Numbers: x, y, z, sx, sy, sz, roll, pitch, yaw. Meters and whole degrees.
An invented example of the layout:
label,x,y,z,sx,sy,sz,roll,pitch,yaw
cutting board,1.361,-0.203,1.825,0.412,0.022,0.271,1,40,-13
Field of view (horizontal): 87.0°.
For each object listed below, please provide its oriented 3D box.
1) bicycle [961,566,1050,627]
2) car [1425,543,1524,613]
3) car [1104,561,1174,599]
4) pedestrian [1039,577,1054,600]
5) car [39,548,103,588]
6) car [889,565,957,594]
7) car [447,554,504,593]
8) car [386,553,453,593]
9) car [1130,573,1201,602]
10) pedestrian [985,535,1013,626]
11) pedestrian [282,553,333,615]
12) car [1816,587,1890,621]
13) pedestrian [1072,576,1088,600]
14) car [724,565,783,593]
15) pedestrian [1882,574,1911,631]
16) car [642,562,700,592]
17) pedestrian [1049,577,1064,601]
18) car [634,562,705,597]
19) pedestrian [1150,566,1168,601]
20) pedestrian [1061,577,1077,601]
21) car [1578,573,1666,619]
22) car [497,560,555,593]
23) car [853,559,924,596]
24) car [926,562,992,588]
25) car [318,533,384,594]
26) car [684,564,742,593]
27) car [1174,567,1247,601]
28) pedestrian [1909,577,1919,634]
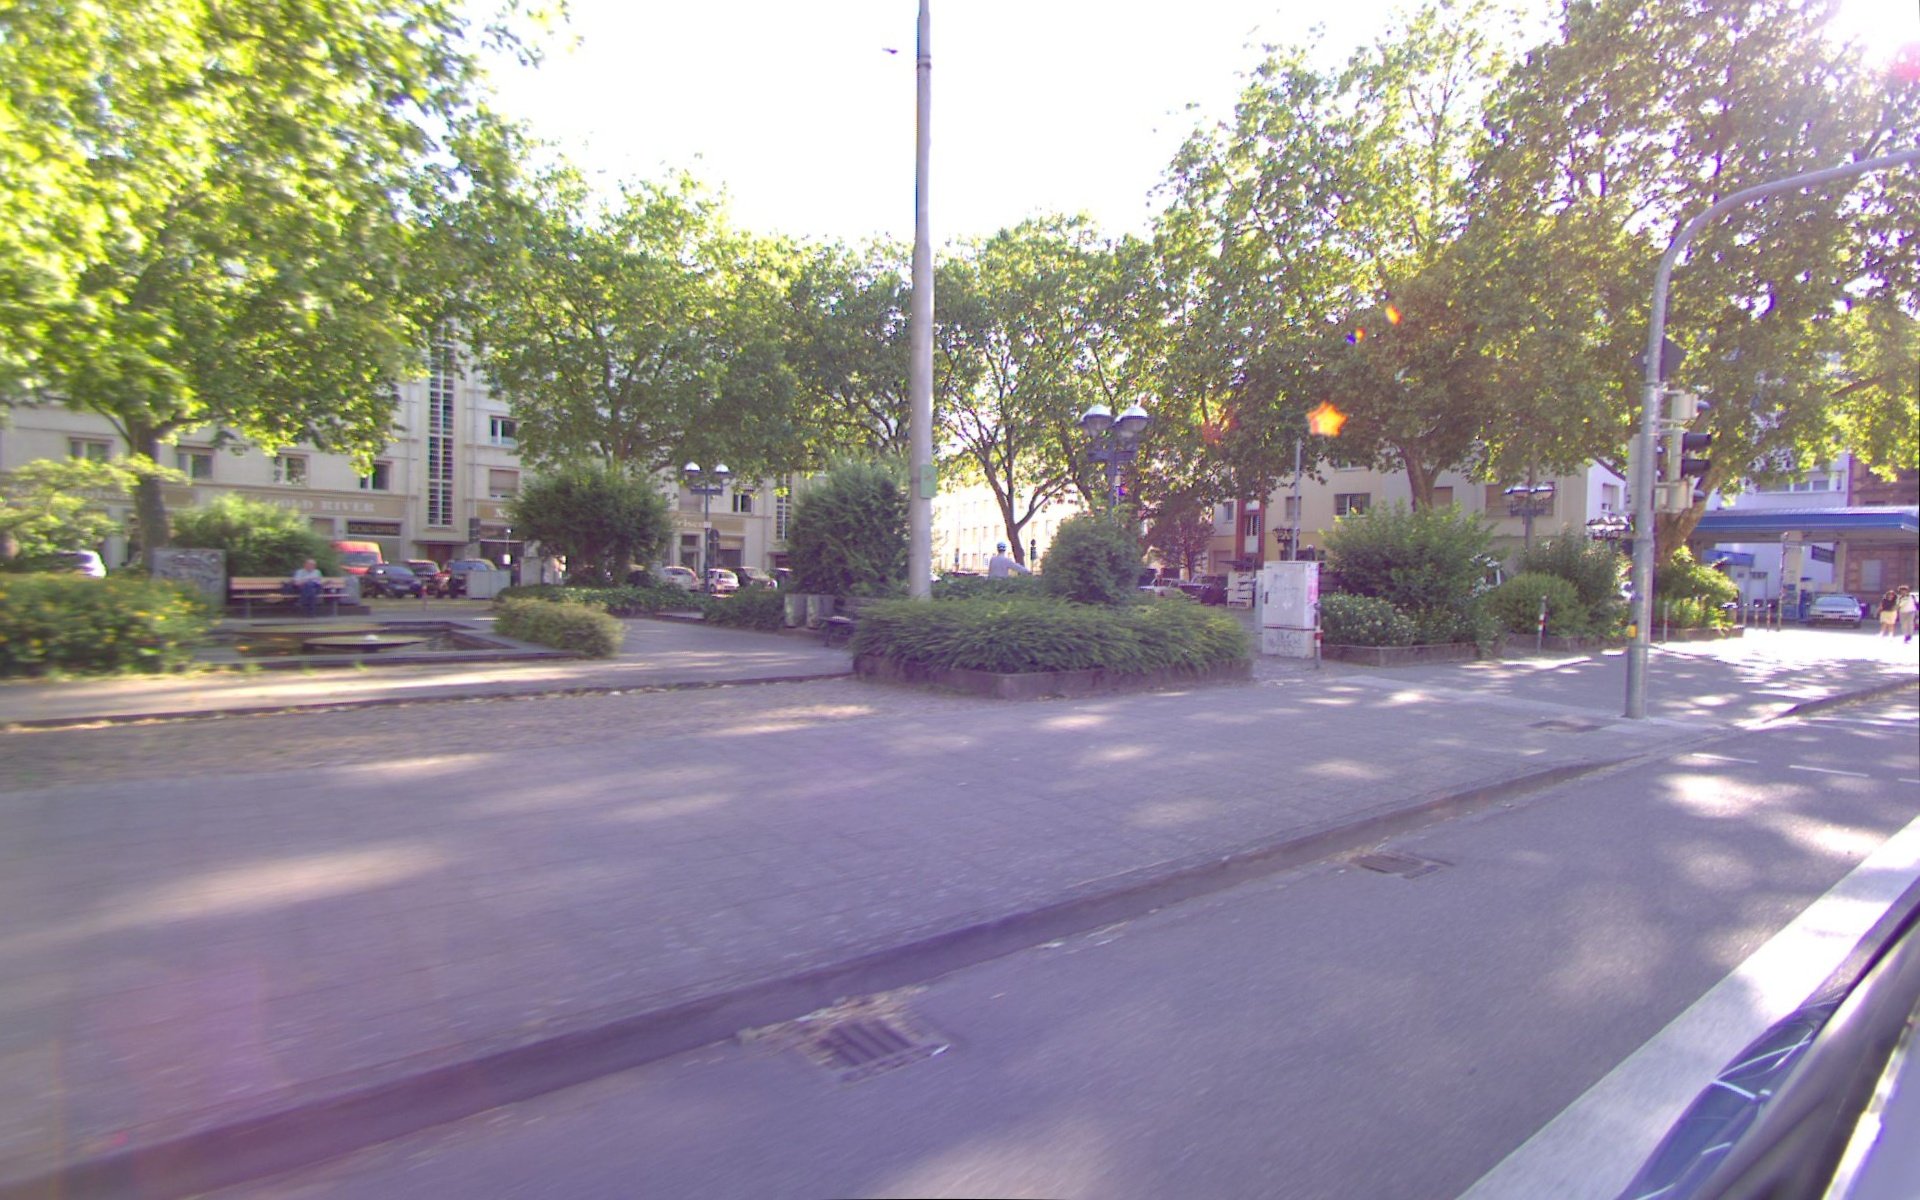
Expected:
label,x,y,z,sx,sy,sz,roll,pitch,yaw
bicycle,0.900,-0.064,19.837,1.693,1.178,0.697,0,0,9
car,21.674,-0.887,42.556,4.629,2.777,1.998,0,0,-39
car,10.175,-1.090,57.331,4.108,2.053,1.708,1,1,-42
pedestrian,4.638,-0.598,54.264,0.625,1.242,0.535,0,0,26
car,-37.110,-1.360,42.347,1.747,1.498,4.352,0,4,-38
car,-2.120,-1.137,57.451,1.887,1.541,3.997,0,0,-38
car,-24.776,-1.364,51.652,1.747,1.774,4.352,0,4,-38
car,-27.224,-1.382,50.872,2.128,1.732,5.077,0,4,-38
car,11.218,-0.660,55.139,4.108,1.521,1.708,1,1,-42
pedestrian,0.790,-0.388,20.278,0.545,1.807,0.626,0,0,3
pedestrian,-13.563,-0.329,21.016,0.776,1.256,1.140,0,0,-39
car,37.174,0.142,42.099,3.686,1.343,1.720,-1,0,-39
pedestrian,6.246,-0.598,52.615,0.626,1.242,0.534,0,0,31
car,-12.725,-1.312,62.232,1.747,1.498,4.352,0,4,-38
pedestrian,30.969,0.091,33.465,0.530,1.867,0.630,0,0,-41
car,-16.835,-1.358,58.869,1.747,1.498,4.352,0,4,-38
pedestrian,5.075,-0.595,53.343,0.627,1.242,0.533,0,0,34
car,-13.624,-0.921,47.336,1.887,1.541,3.997,0,0,-38
pedestrian,9.423,-0.783,47.921,0.620,1.633,0.539,0,0,-39
pedestrian,5.700,-0.597,53.000,0.627,1.242,0.533,0,0,34
car,25.391,-0.154,38.769,4.108,1.680,1.804,1,1,-42
car,-22.946,-1.272,53.411,1.747,1.498,4.352,0,4,-38
car,-3.976,-1.221,55.914,2.010,1.940,3.997,0,0,-38
car,-0.098,-1.424,59.040,1.746,1.426,3.997,0,0,-38
car,-29.468,-1.796,48.864,2.128,2.699,5.067,0,4,-38
car,-14.947,-1.308,61.003,1.747,1.498,4.352,0,4,-38
car,13.234,-0.820,53.298,4.108,1.681,1.708,1,1,-42
pedestrian,31.317,0.176,32.906,0.530,1.867,0.630,0,0,-41
